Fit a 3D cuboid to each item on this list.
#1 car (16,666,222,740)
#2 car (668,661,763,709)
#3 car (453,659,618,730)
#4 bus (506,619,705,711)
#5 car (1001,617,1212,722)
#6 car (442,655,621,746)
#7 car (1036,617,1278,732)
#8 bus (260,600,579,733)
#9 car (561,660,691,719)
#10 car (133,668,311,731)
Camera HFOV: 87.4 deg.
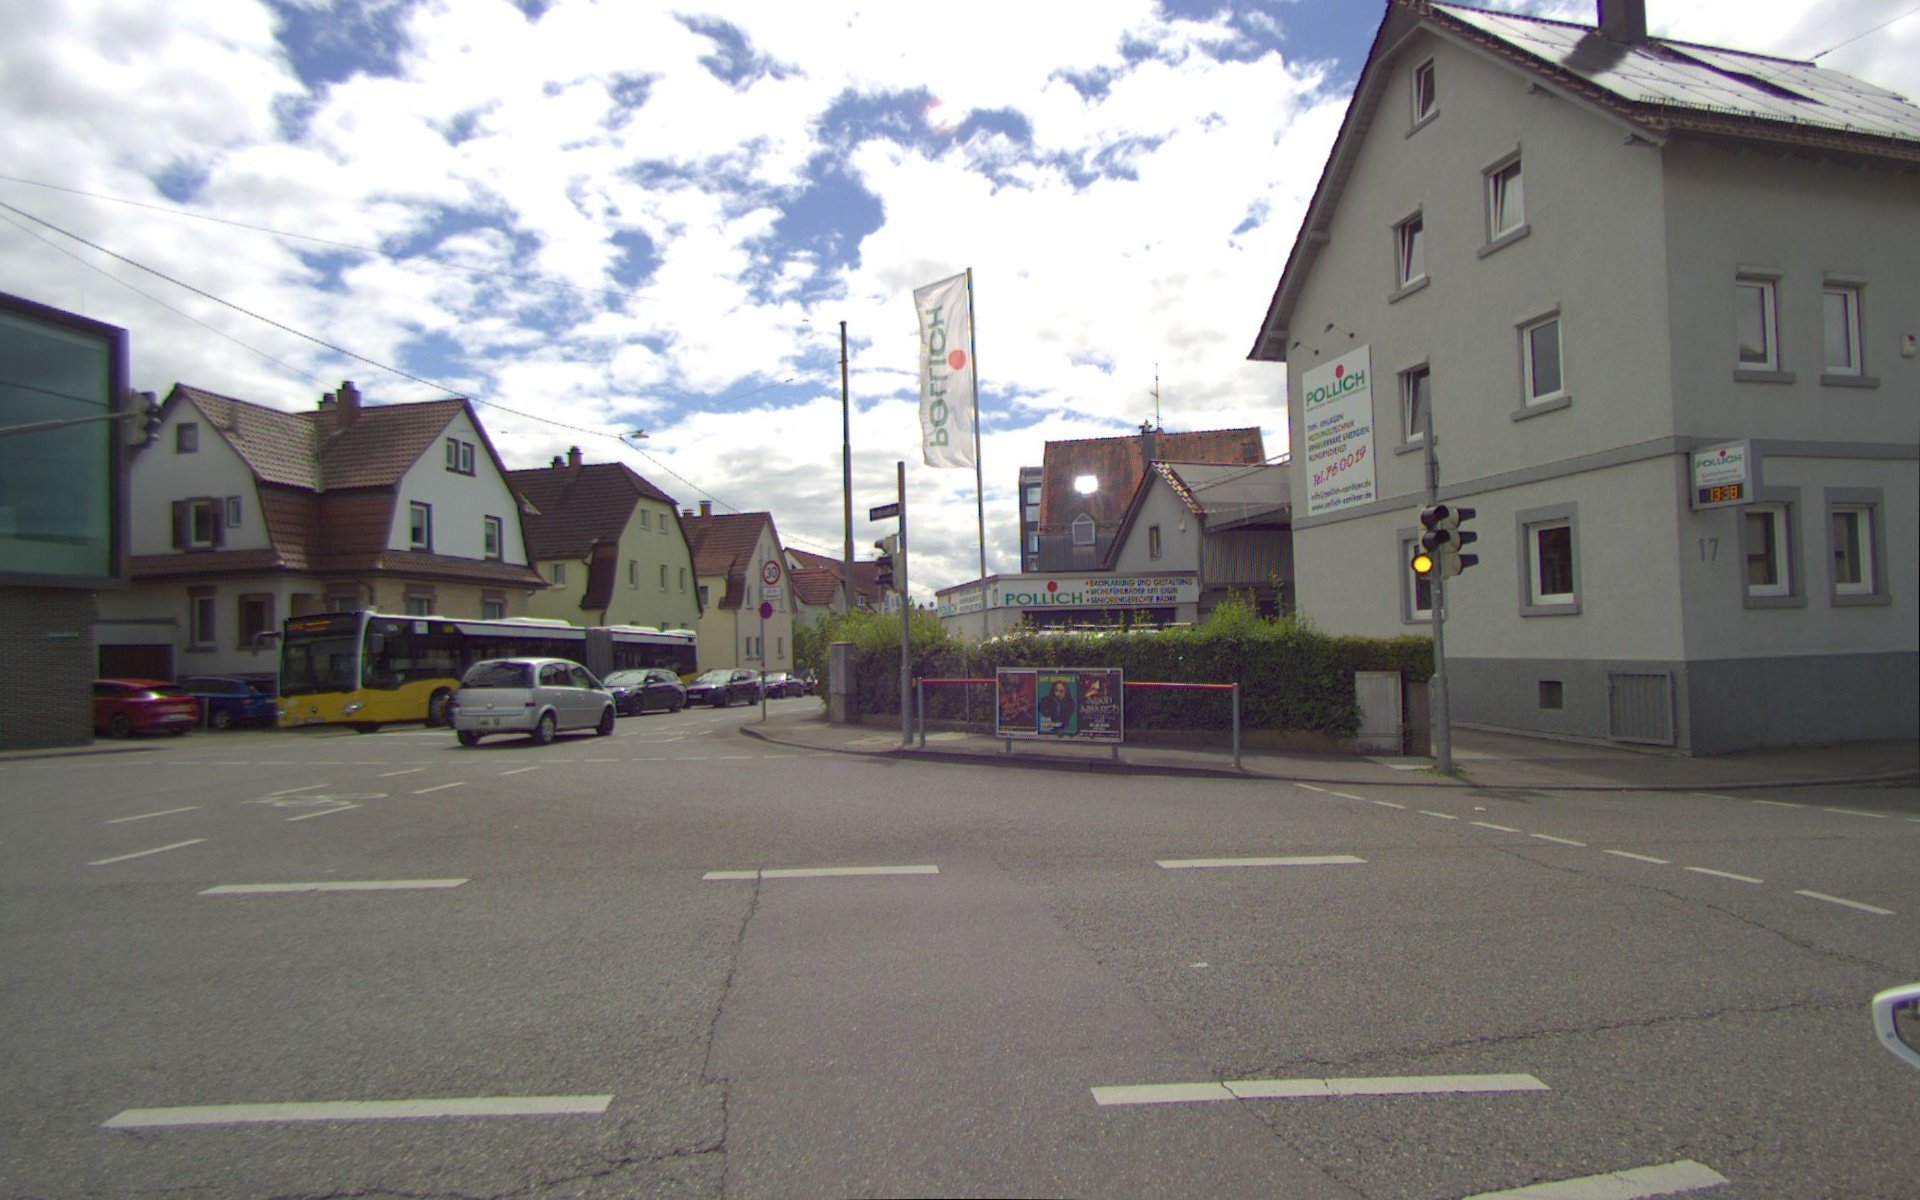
[{"bbox_3d":[-22.273,2.696,26.701,3.919,1.661,2.002,2,-3,8],"label":"car"},{"bbox_3d":[-9.137,3.160,37.873,1.959,1.661,4.004,-1,-3,12],"label":"car"},{"bbox_3d":[-10.788,2.366,25.878,1.959,1.661,4.004,-1,-3,12],"label":"car"},{"bbox_3d":[-12.737,2.362,37.292,2.730,2.952,9.200,-1,-3,10],"label":"bus"},{"bbox_3d":[3.037,1.427,21.189,3.931,2.040,1.996,0,-3,-14],"label":"car"},{"bbox_3d":[-8.312,1.940,19.921,1.740,1.595,4.004,-1,-4,1],"label":"car"},{"bbox_3d":[3.612,1.358,18.744,3.932,1.973,1.995,0,-3,-14],"label":"car"},{"bbox_3d":[-14.532,1.818,28.269,2.730,3.100,9.200,-1,-3,10],"label":"bus"},{"bbox_3d":[-10.197,2.715,31.010,1.959,1.661,4.187,-1,-3,12],"label":"car"},{"bbox_3d":[-21.669,2.905,29.591,3.919,1.705,2.002,-2,-3,8],"label":"car"}]
